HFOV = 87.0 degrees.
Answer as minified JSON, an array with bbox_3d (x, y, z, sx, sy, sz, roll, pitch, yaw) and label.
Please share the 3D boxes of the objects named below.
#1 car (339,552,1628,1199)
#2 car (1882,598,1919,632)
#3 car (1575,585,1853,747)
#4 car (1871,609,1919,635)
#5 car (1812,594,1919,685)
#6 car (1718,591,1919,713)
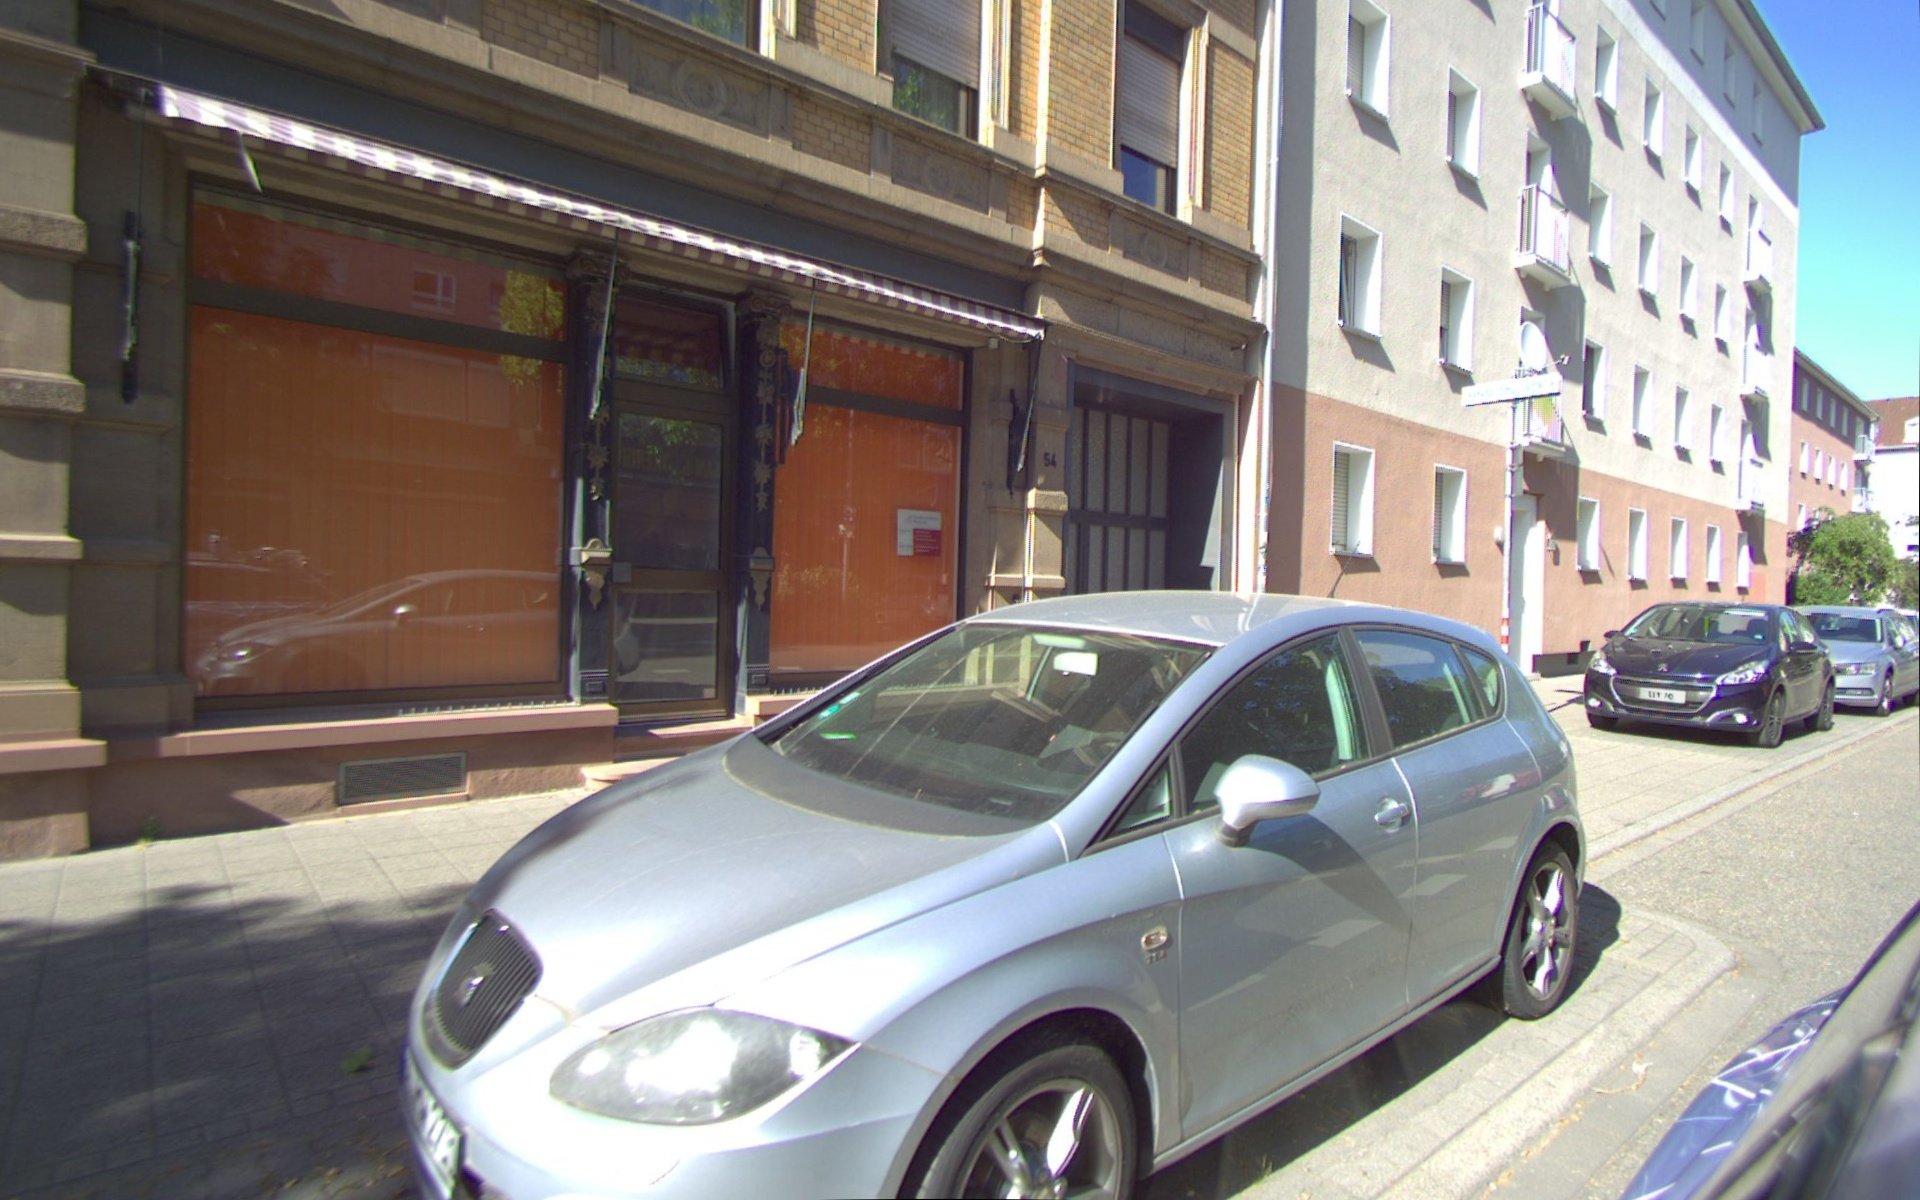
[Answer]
[{"bbox_3d":[0.467,0.657,3.217,3.930,1.469,1.742,1,1,-41],"label":"car"},{"bbox_3d":[61.136,1.015,63.482,1.967,2.039,4.748,1,1,-44],"label":"car"},{"bbox_3d":[8.593,0.627,11.436,3.645,1.498,1.713,0,1,-40],"label":"car"},{"bbox_3d":[56.829,1.320,60.270,1.540,1.419,3.647,1,1,-39],"label":"car"},{"bbox_3d":[17.772,0.703,19.289,3.728,1.504,1.735,1,3,-41],"label":"car"},{"bbox_3d":[13.110,0.680,15.056,4.433,1.478,1.791,1,3,-38],"label":"car"}]
